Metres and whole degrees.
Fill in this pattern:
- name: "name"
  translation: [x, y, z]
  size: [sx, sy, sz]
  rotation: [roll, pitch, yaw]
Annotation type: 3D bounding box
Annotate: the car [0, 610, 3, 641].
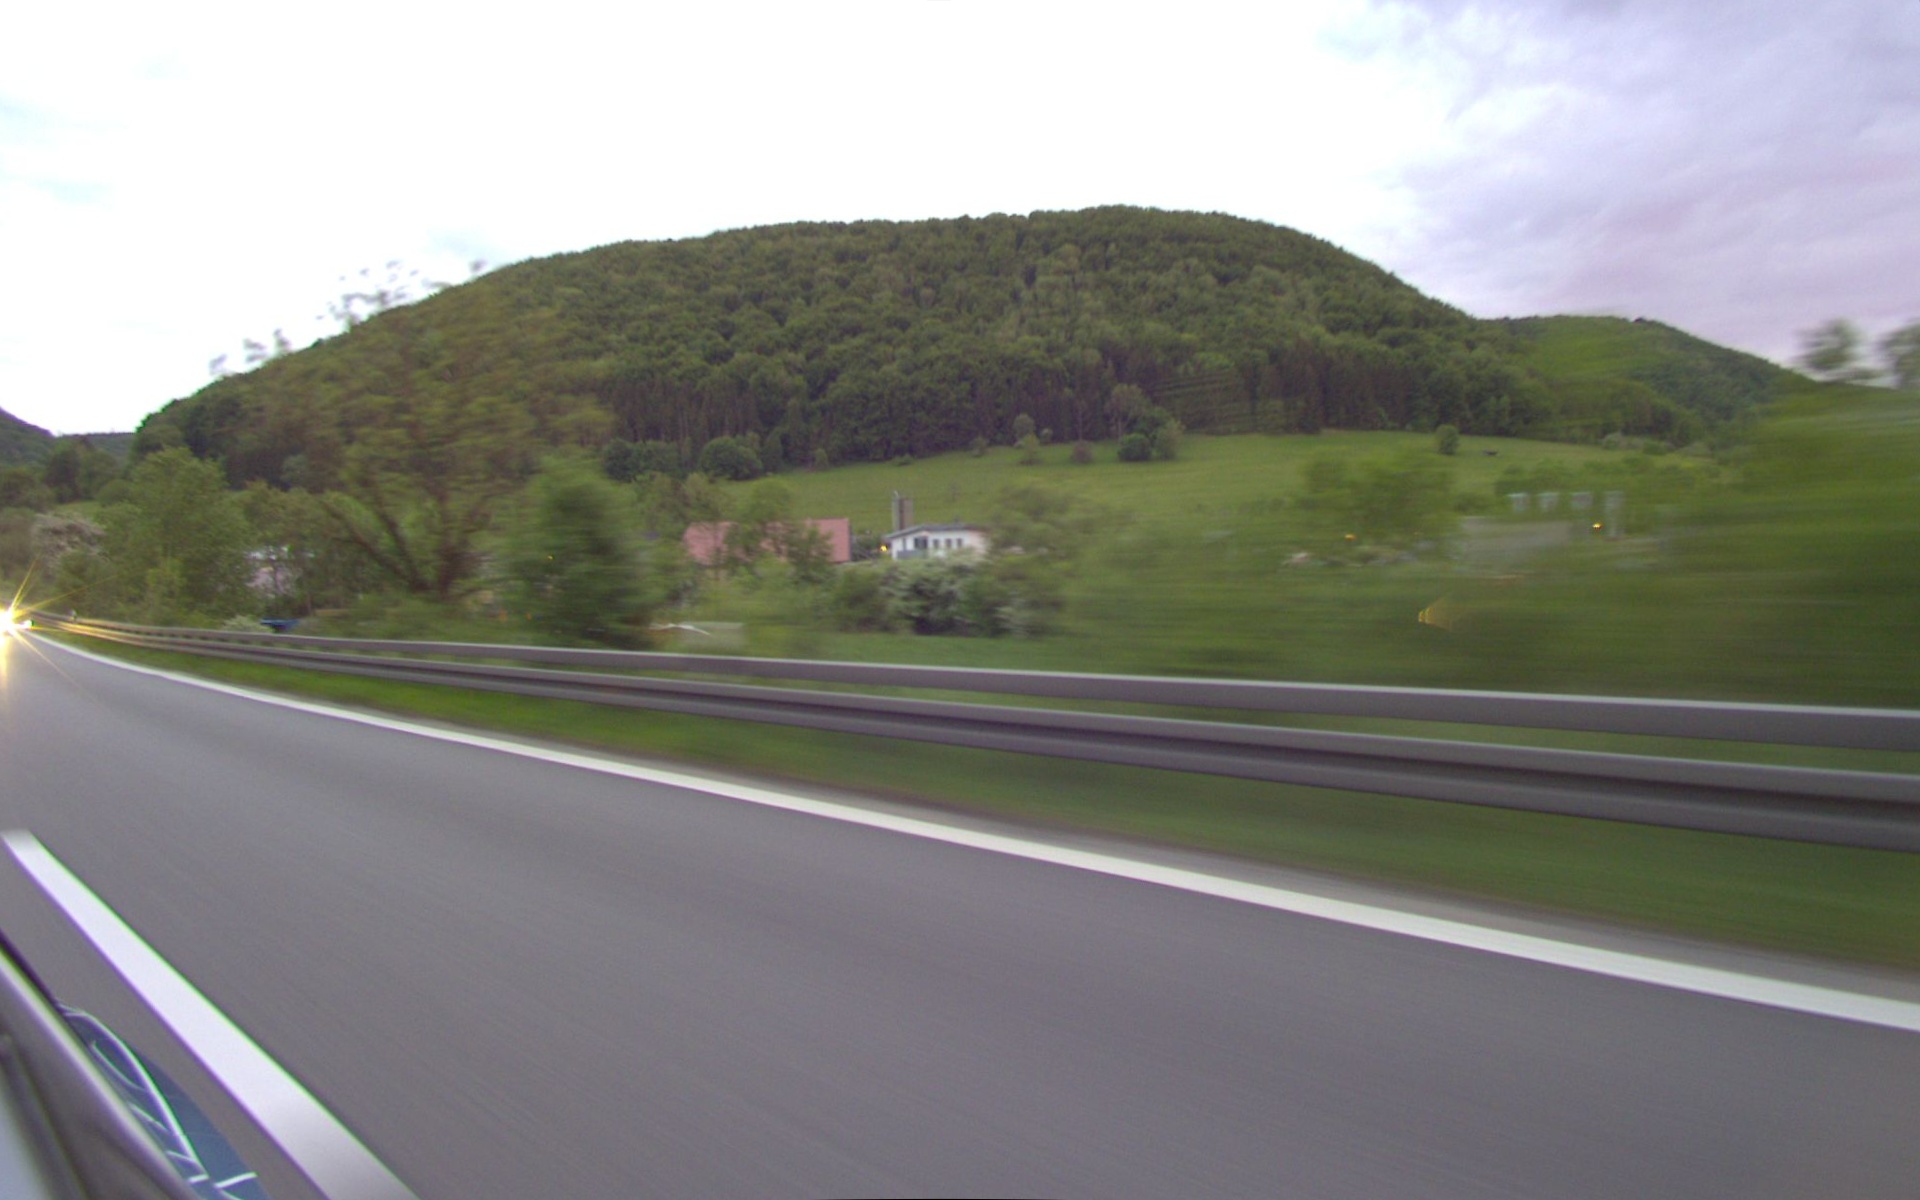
- name: "car"
  translation: [-48.238, 1.301, 49.532]
  size: [3.766, 1.479, 1.668]
  rotation: [-2, -1, 42]
